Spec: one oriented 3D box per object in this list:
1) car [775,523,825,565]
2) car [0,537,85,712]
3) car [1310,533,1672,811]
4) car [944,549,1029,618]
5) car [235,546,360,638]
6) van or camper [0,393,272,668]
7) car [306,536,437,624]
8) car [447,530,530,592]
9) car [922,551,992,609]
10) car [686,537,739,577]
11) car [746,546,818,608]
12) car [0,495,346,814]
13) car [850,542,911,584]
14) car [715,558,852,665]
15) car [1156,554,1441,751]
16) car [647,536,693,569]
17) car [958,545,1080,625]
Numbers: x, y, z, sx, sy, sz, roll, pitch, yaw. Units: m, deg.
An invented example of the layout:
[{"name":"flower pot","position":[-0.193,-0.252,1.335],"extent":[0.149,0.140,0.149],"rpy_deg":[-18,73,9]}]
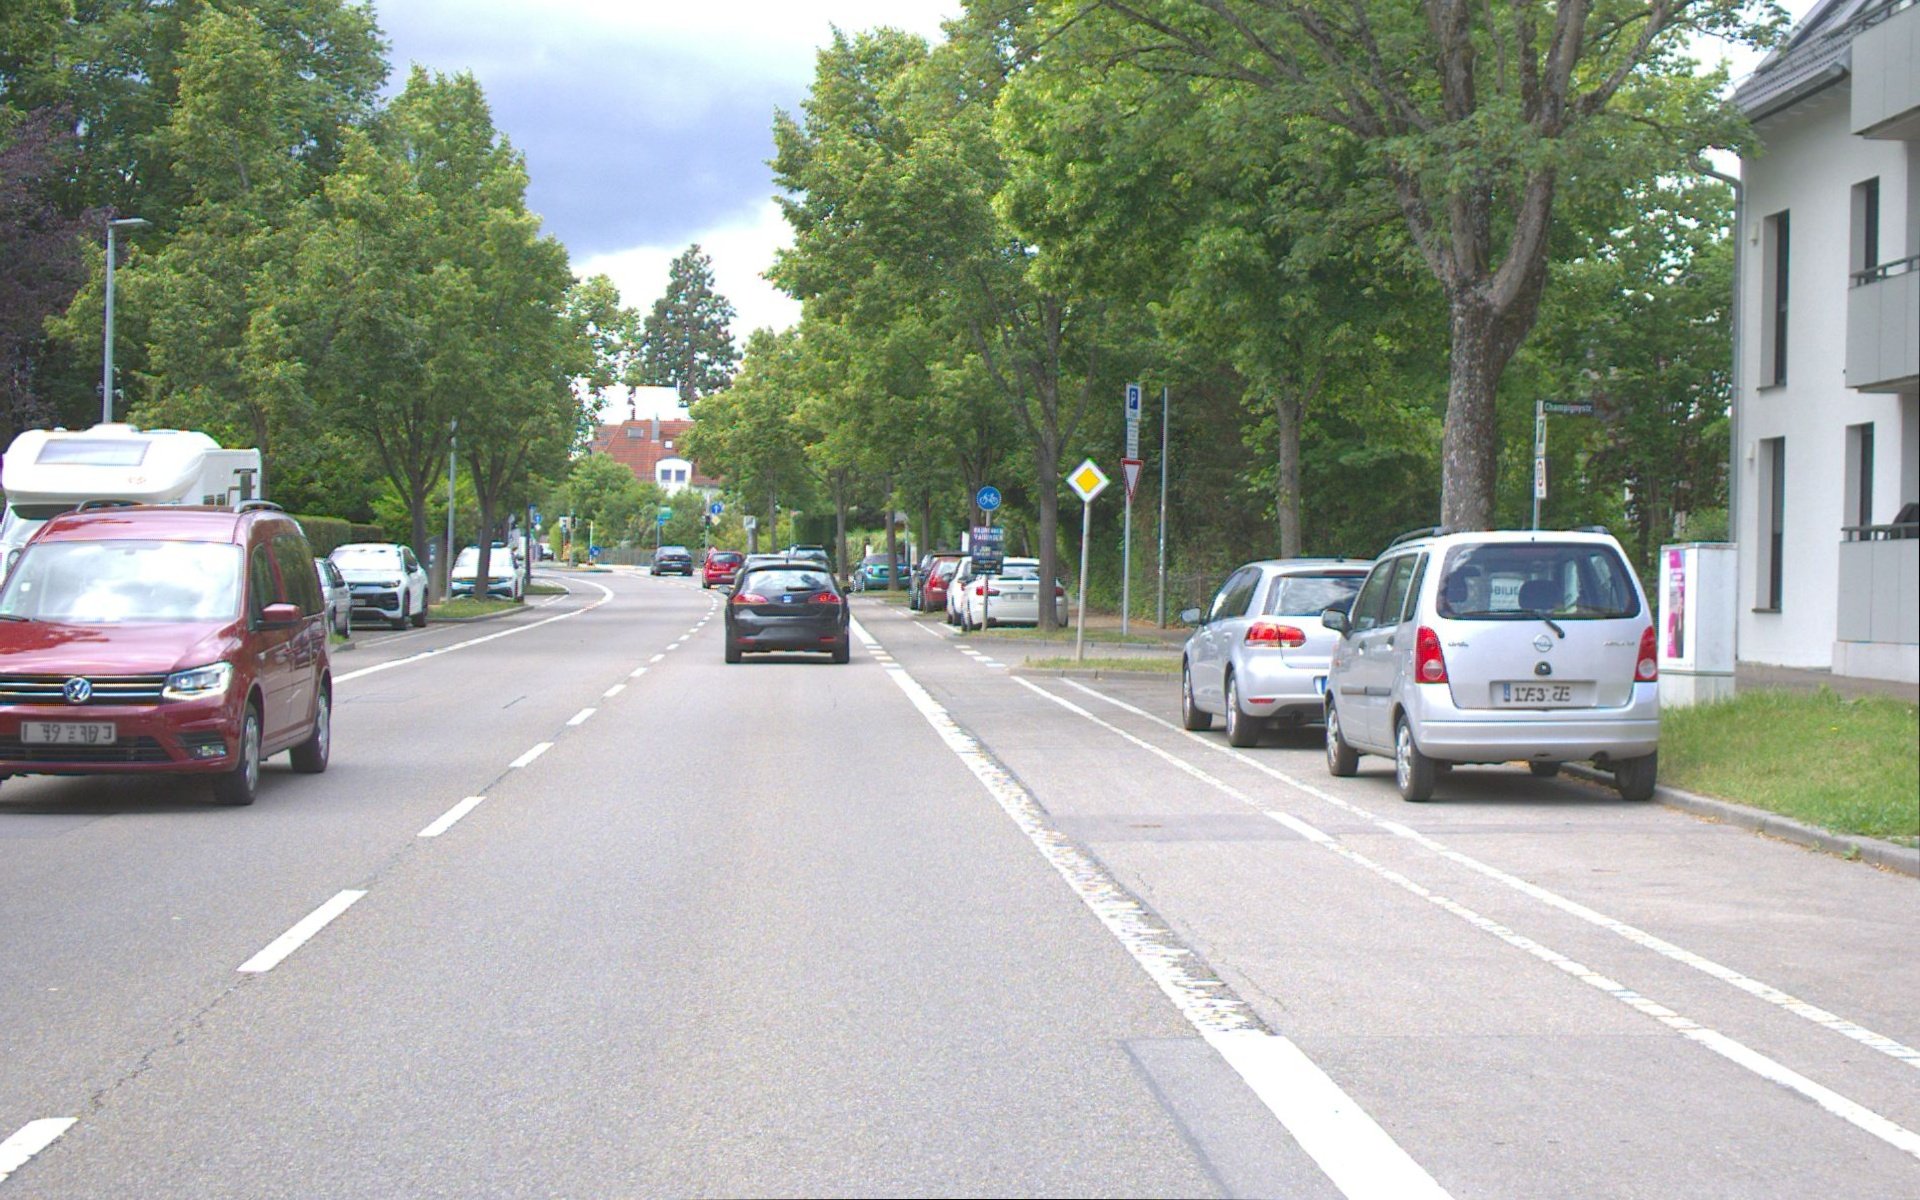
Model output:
[{"name":"car","position":[-6.942,-2.400,148.572],"extent":[1.788,1.765,3.983],"rpy_deg":[0,1,-8]},{"name":"car","position":[-9.640,0.193,32.619],"extent":[1.722,1.595,4.273],"rpy_deg":[1,1,-2]},{"name":"car","position":[3.367,0.407,22.417],"extent":[1.632,1.660,3.648],"rpy_deg":[0,1,-3]},{"name":"car","position":[0.543,-0.369,74.348],"extent":[1.615,1.455,3.658],"rpy_deg":[0,1,-3]},{"name":"car","position":[-11.048,-0.159,57.563],"extent":[1.555,1.465,4.453],"rpy_deg":[1,1,-4]},{"name":"van or camper","position":[-10.149,-0.819,41.560],"extent":[2.435,2.999,7.694],"rpy_deg":[0,1,-3]},{"name":"car","position":[-11.479,-0.414,67.368],"extent":[1.817,1.646,4.699],"rpy_deg":[1,1,-1]},{"name":"car","position":[-12.955,-1.085,94.653],"extent":[1.873,1.682,4.866],"rpy_deg":[0,1,-3]},{"name":"car","position":[-0.095,-0.526,86.228],"extent":[1.638,1.415,4.000],"rpy_deg":[0,1,-1]},{"name":"car","position":[-9.635,-1.671,133.656],"extent":[1.993,1.525,4.001],"rpy_deg":[0,1,-5]},{"name":"car","position":[-5.050,-0.663,97.306],"extent":[1.993,1.552,4.001],"rpy_deg":[0,3,-4]},{"name":"car","position":[-5.086,0.272,21.766],"extent":[1.760,1.797,4.769],"rpy_deg":[0,1,-3]},{"name":"car","position":[-2.826,-1.325,121.148],"extent":[1.682,1.427,4.045],"rpy_deg":[0,1,-8]},{"name":"car","position":[-2.518,0.135,48.475],"extent":[1.783,1.444,3.558],"rpy_deg":[1,1,-5]},{"name":"car","position":[2.693,0.374,28.237],"extent":[1.687,1.488,4.228],"rpy_deg":[0,1,-3]},{"name":"car","position":[-14.156,-2.306,167.449],"extent":[1.993,1.503,4.001],"rpy_deg":[1,0,-8]},{"name":"car","position":[1.094,-0.323,65.908],"extent":[2.020,1.438,5.025],"rpy_deg":[1,1,-2]}]
